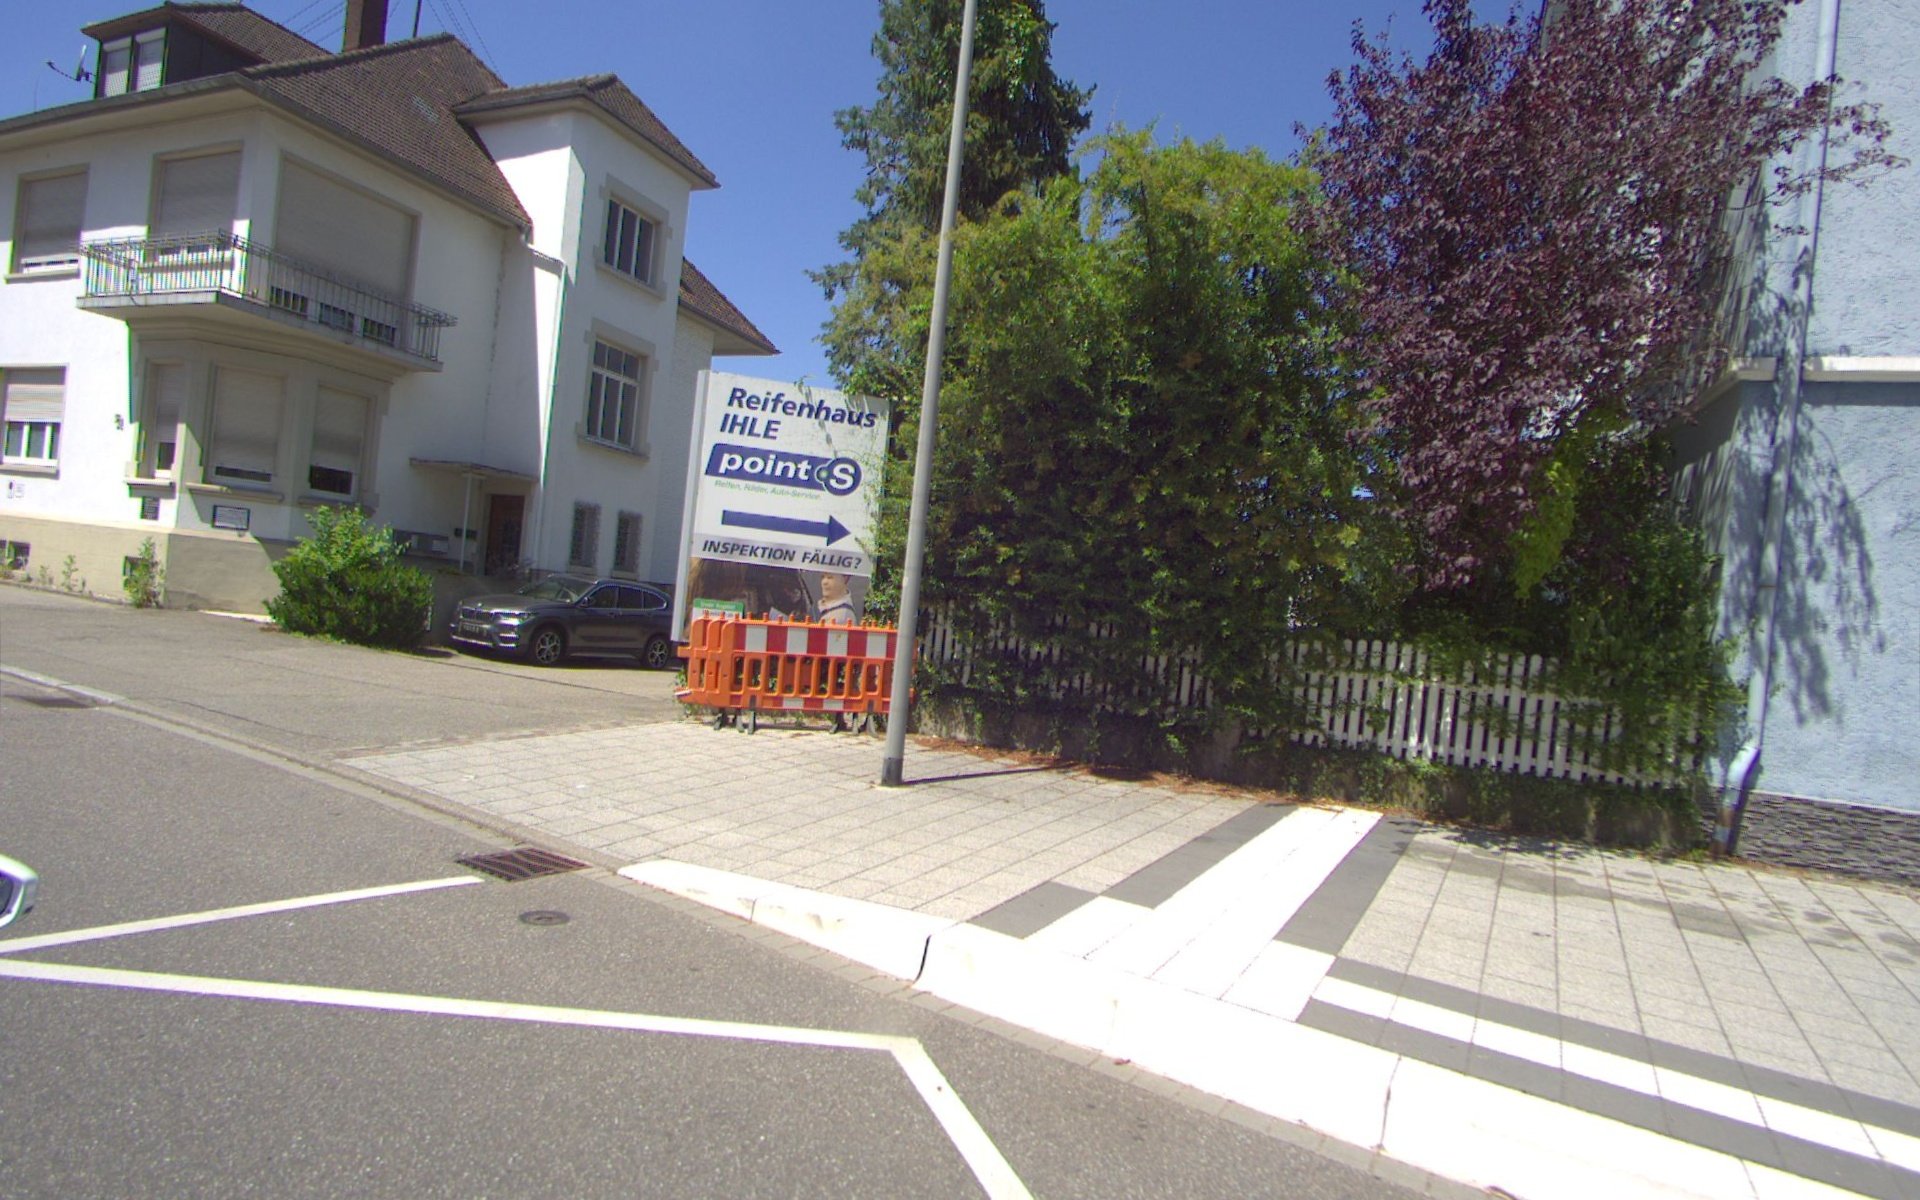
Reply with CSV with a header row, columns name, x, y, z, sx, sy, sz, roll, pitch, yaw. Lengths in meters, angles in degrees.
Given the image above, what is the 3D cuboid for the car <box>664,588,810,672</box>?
name,x,y,z,sx,sy,sz,roll,pitch,yaw
car,-5.108,0.780,23.579,1.576,1.610,4.005,7,-2,14

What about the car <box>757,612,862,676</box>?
name,x,y,z,sx,sy,sz,roll,pitch,yaw
car,-4.114,1.278,28.200,1.531,1.487,4.006,7,-2,11

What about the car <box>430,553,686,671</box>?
name,x,y,z,sx,sy,sz,roll,pitch,yaw
car,-7.067,0.296,18.121,1.766,1.610,4.000,6,-3,26
